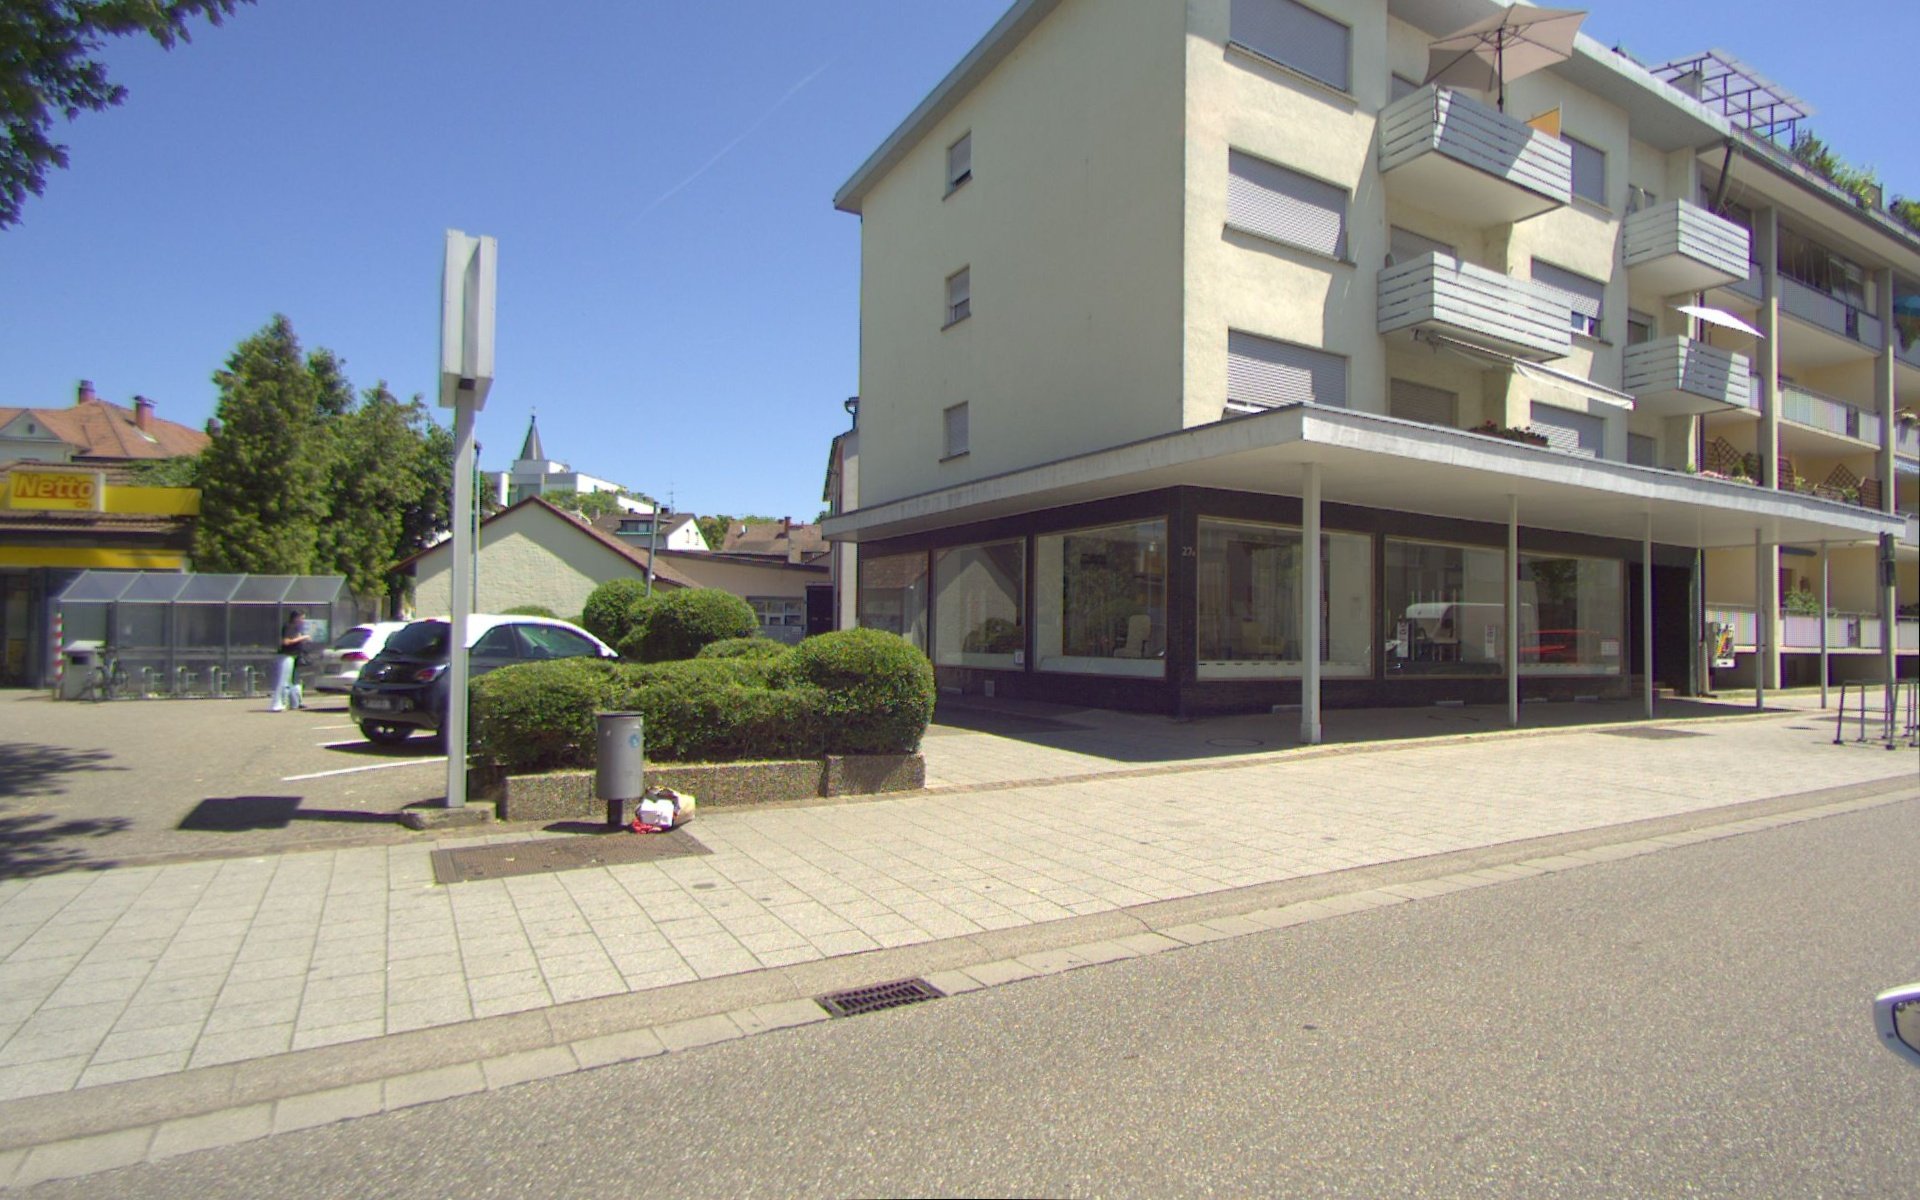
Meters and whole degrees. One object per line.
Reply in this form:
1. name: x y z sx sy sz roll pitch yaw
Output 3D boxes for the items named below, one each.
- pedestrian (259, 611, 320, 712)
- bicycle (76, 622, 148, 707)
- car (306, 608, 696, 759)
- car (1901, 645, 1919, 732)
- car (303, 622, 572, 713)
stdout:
1. pedestrian: -11.259 1.018 16.869 0.713 1.648 0.676 2 -2 -44
2. bicycle: -16.836 1.253 19.977 0.577 1.579 1.642 2 0 -22
3. car: -5.326 0.908 12.209 1.863 1.506 3.989 -1 -2 29
4. car: 18.379 1.540 17.296 4.990 1.436 1.886 2 0 -31
5. car: -9.360 1.185 18.300 1.746 1.453 4.026 -3 -3 33
